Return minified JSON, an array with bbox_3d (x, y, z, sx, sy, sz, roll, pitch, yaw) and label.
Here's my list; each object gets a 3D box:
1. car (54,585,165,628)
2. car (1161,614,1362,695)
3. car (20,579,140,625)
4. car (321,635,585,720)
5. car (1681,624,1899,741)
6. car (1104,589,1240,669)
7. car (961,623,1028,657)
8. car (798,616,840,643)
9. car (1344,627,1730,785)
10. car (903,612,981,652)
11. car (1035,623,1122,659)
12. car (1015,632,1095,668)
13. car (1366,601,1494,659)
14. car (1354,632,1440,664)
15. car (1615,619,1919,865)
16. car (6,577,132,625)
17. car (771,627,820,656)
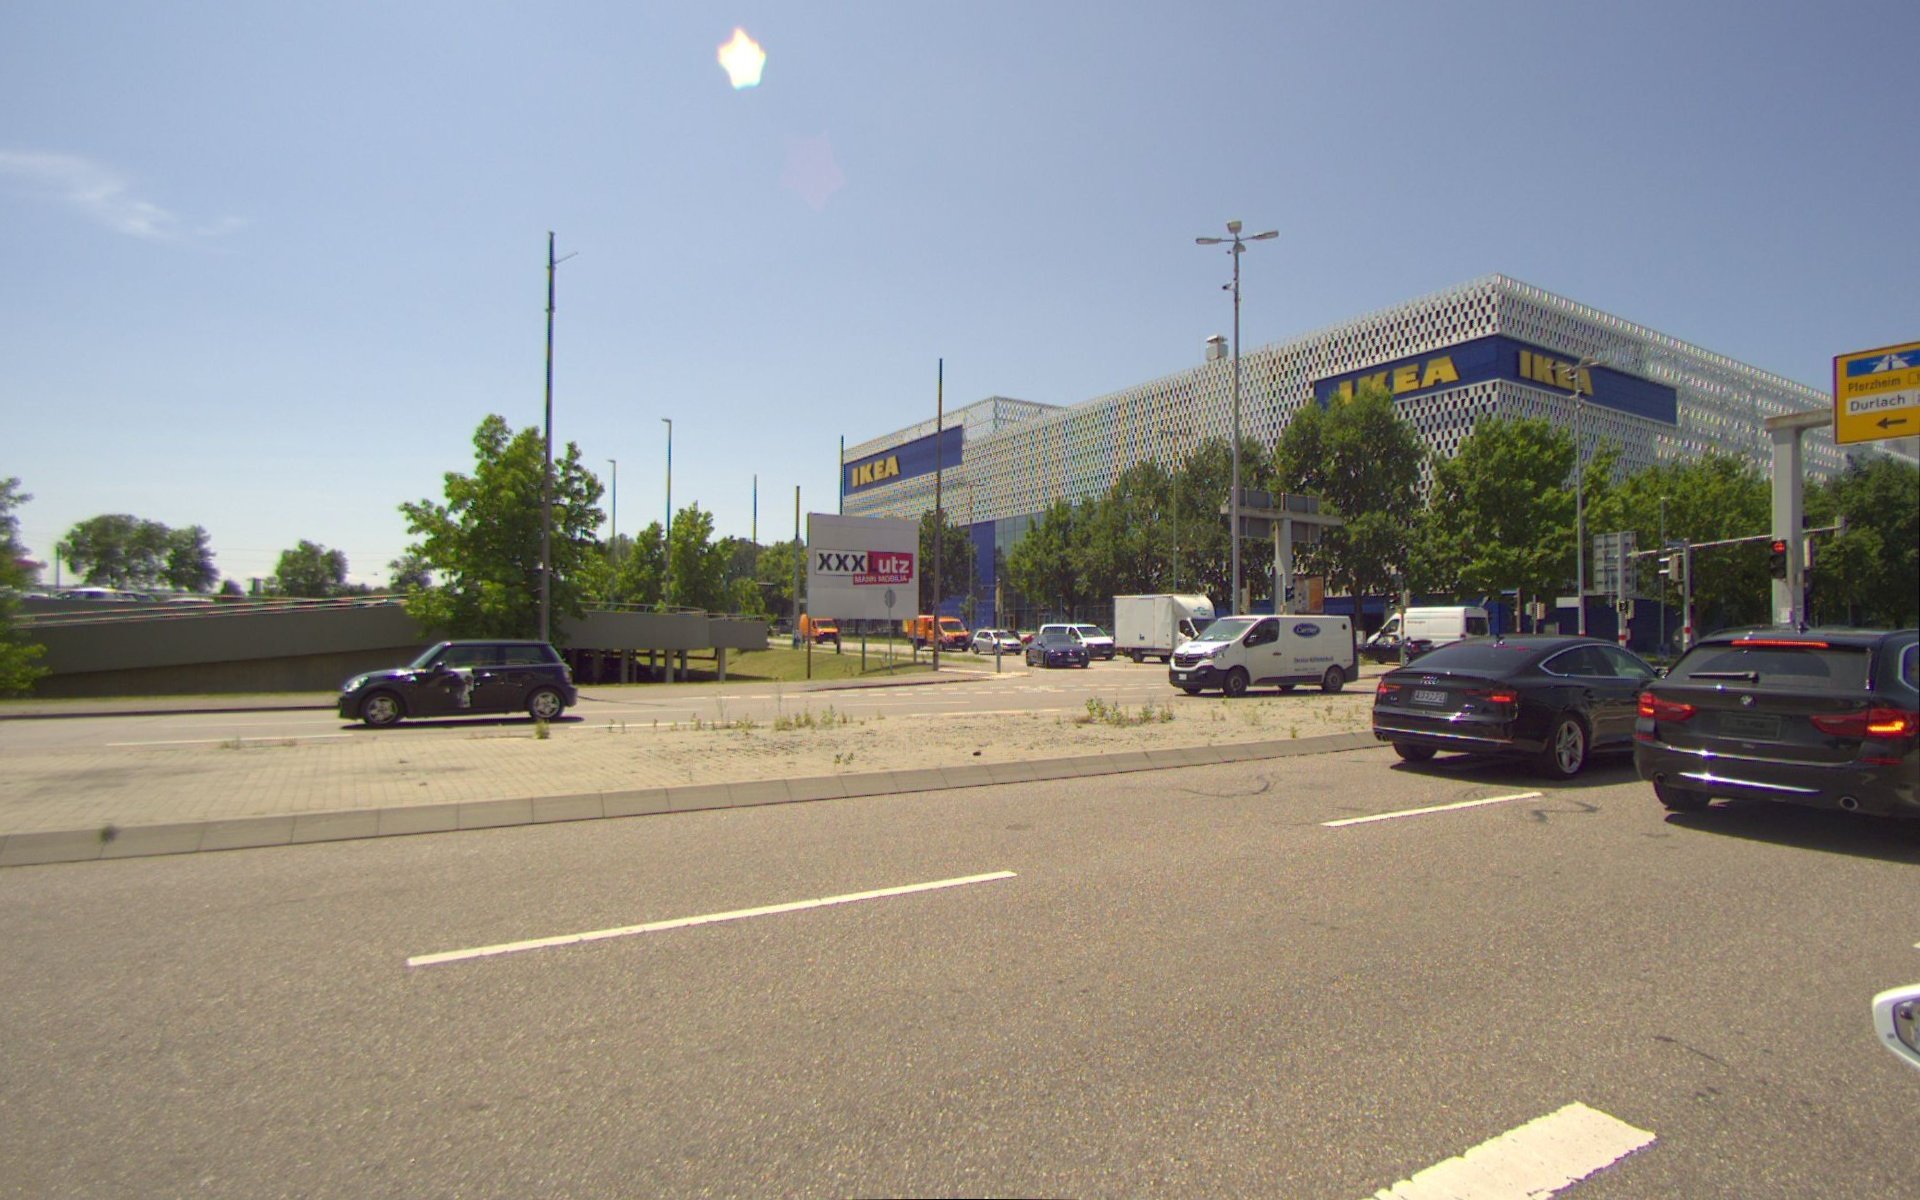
[{"bbox_3d":[-42.882,0.372,50.753,3.956,2.040,1.983,2,-3,-32],"label":"car"},{"bbox_3d":[7.515,1.294,25.012,4.772,1.875,1.826,0,-1,-24],"label":"car"},{"bbox_3d":[-42.082,0.150,48.174,3.956,2.040,1.983,2,-3,-32],"label":"car"},{"bbox_3d":[-8.581,1.275,17.262,3.843,1.319,1.849,1,-3,-27],"label":"car"},{"bbox_3d":[12.627,1.149,15.207,3.965,1.514,1.784,2,-1,-39],"label":"car"},{"bbox_3d":[9.854,1.332,47.384,2.158,3.532,6.868,-1,-1,-31],"label":"car"},{"bbox_3d":[2.109,2.463,62.010,1.977,2.040,4.677,2,-2,-30],"label":"car"},{"bbox_3d":[-12.770,2.655,90.548,1.974,2.318,5.842,1,-2,-27],"label":"car"},{"bbox_3d":[6.421,1.039,11.033,4.481,1.408,1.739,2,-1,-31],"label":"car"},{"bbox_3d":[-1.322,2.221,68.838,2.544,2.568,6.581,2,-2,-29],"label":"car"},{"bbox_3d":[6.314,2.177,54.234,1.975,1.835,5.433,1,-2,-28],"label":"car"},{"bbox_3d":[4.105,2.169,44.055,1.905,1.528,3.979,1,-2,-23],"label":"car"},{"bbox_3d":[22.397,1.385,48.123,1.974,2.600,5.470,2,-1,-27],"label":"car"},{"bbox_3d":[19.893,2.177,45.813,1.604,1.375,3.354,1,-2,-28],"label":"car"},{"bbox_3d":[7.343,0.927,8.130,4.575,1.485,1.789,1,-1,-34],"label":"car"},{"bbox_3d":[-40.920,0.085,46.263,3.956,2.040,1.983,2,-3,-32],"label":"car"},{"bbox_3d":[-11.679,2.924,71.116,1.817,2.040,3.959,2,-2,-37],"label":"car"}]
